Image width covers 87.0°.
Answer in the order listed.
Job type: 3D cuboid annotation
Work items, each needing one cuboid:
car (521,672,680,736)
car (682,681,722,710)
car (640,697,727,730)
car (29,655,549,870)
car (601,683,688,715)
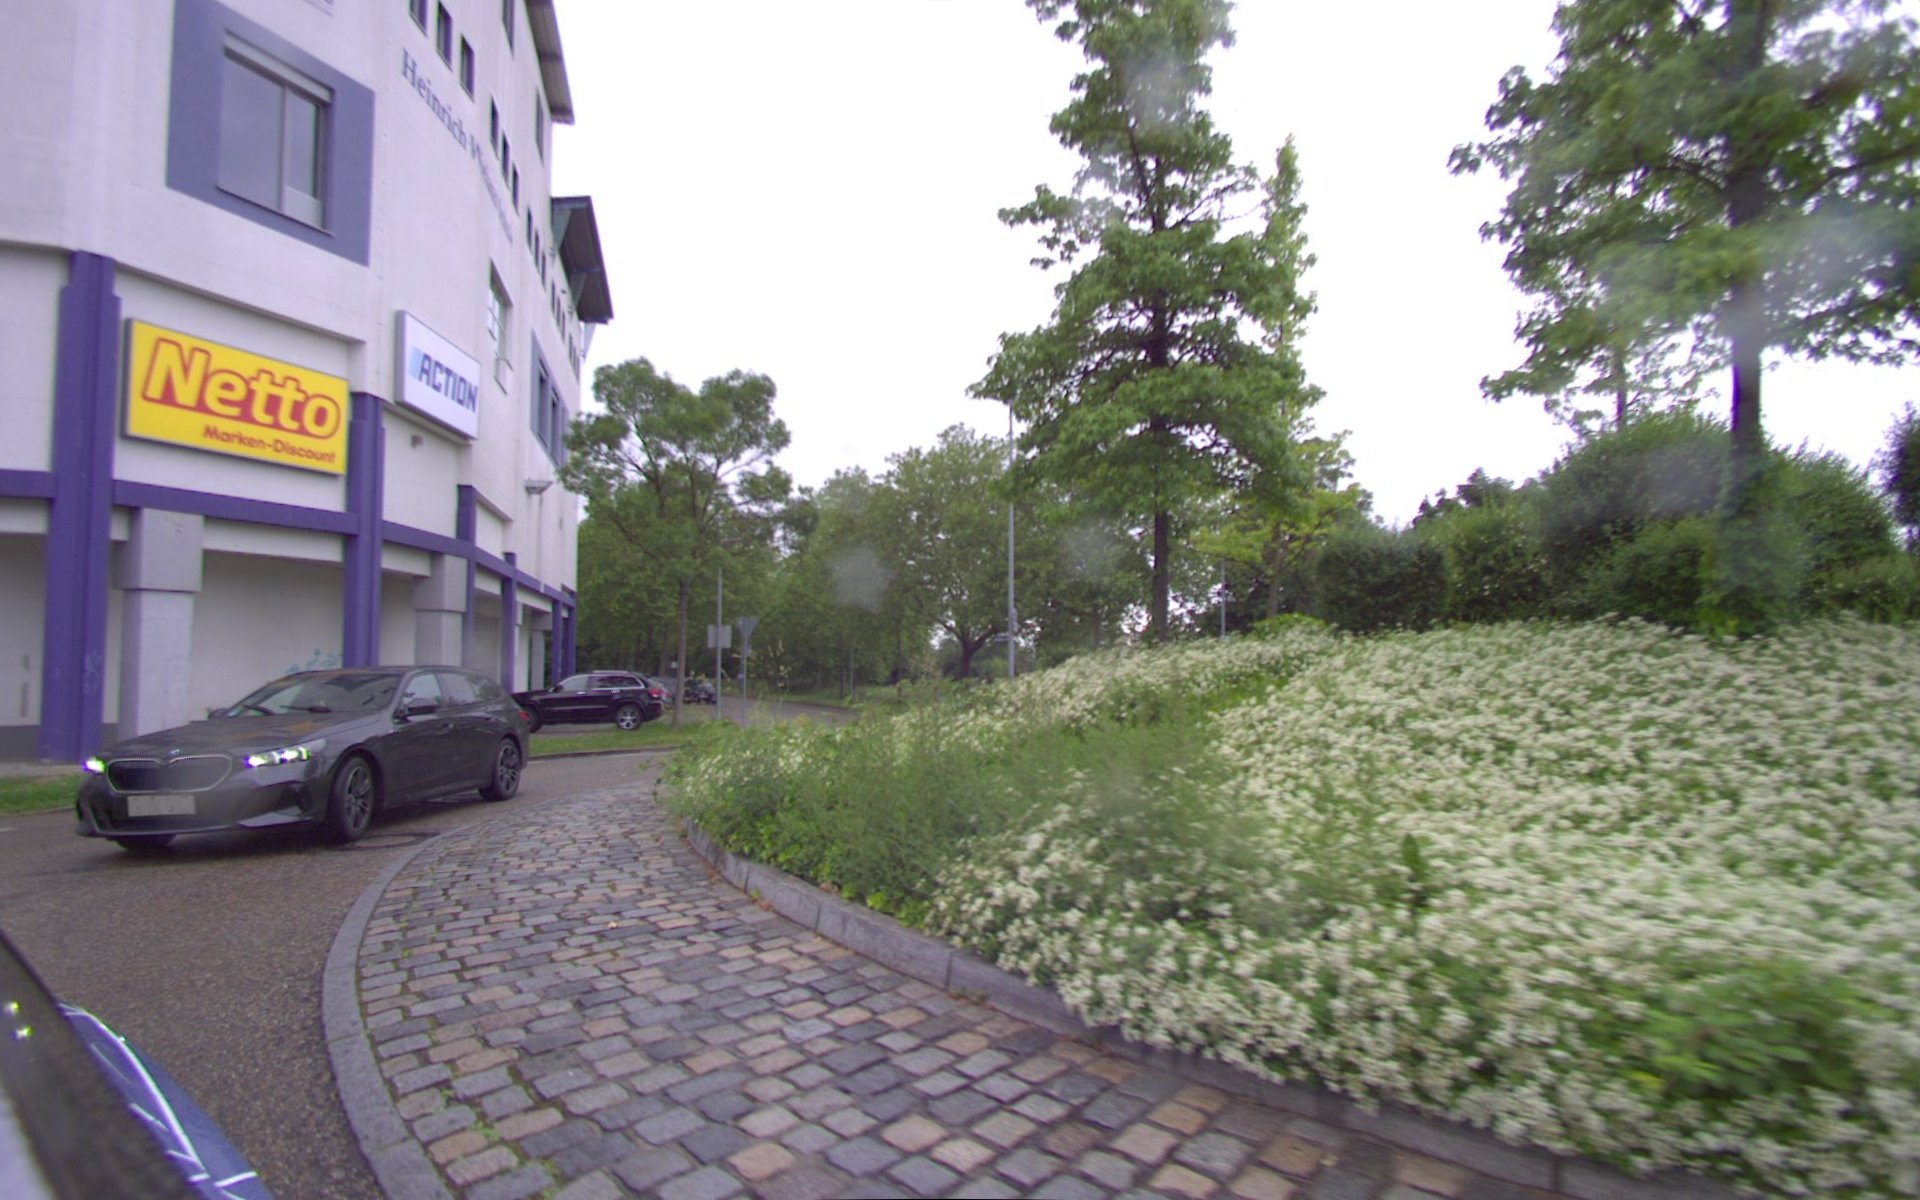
[{"bbox_3d":[-10.614,3.074,30.150,4.316,1.773,1.834,1,-6,-17],"label":"car"},{"bbox_3d":[-16.328,5.994,63.862,1.776,1.614,4.385,4,-5,-22],"label":"car"},{"bbox_3d":[-13.044,5.349,47.804,3.884,1.464,1.726,2,-4,-16],"label":"car"},{"bbox_3d":[-5.879,1.392,9.832,1.819,1.506,4.900,-2,-5,0],"label":"car"},{"bbox_3d":[-16.110,5.054,51.680,4.048,1.489,1.727,2,-3,-21],"label":"car"}]
